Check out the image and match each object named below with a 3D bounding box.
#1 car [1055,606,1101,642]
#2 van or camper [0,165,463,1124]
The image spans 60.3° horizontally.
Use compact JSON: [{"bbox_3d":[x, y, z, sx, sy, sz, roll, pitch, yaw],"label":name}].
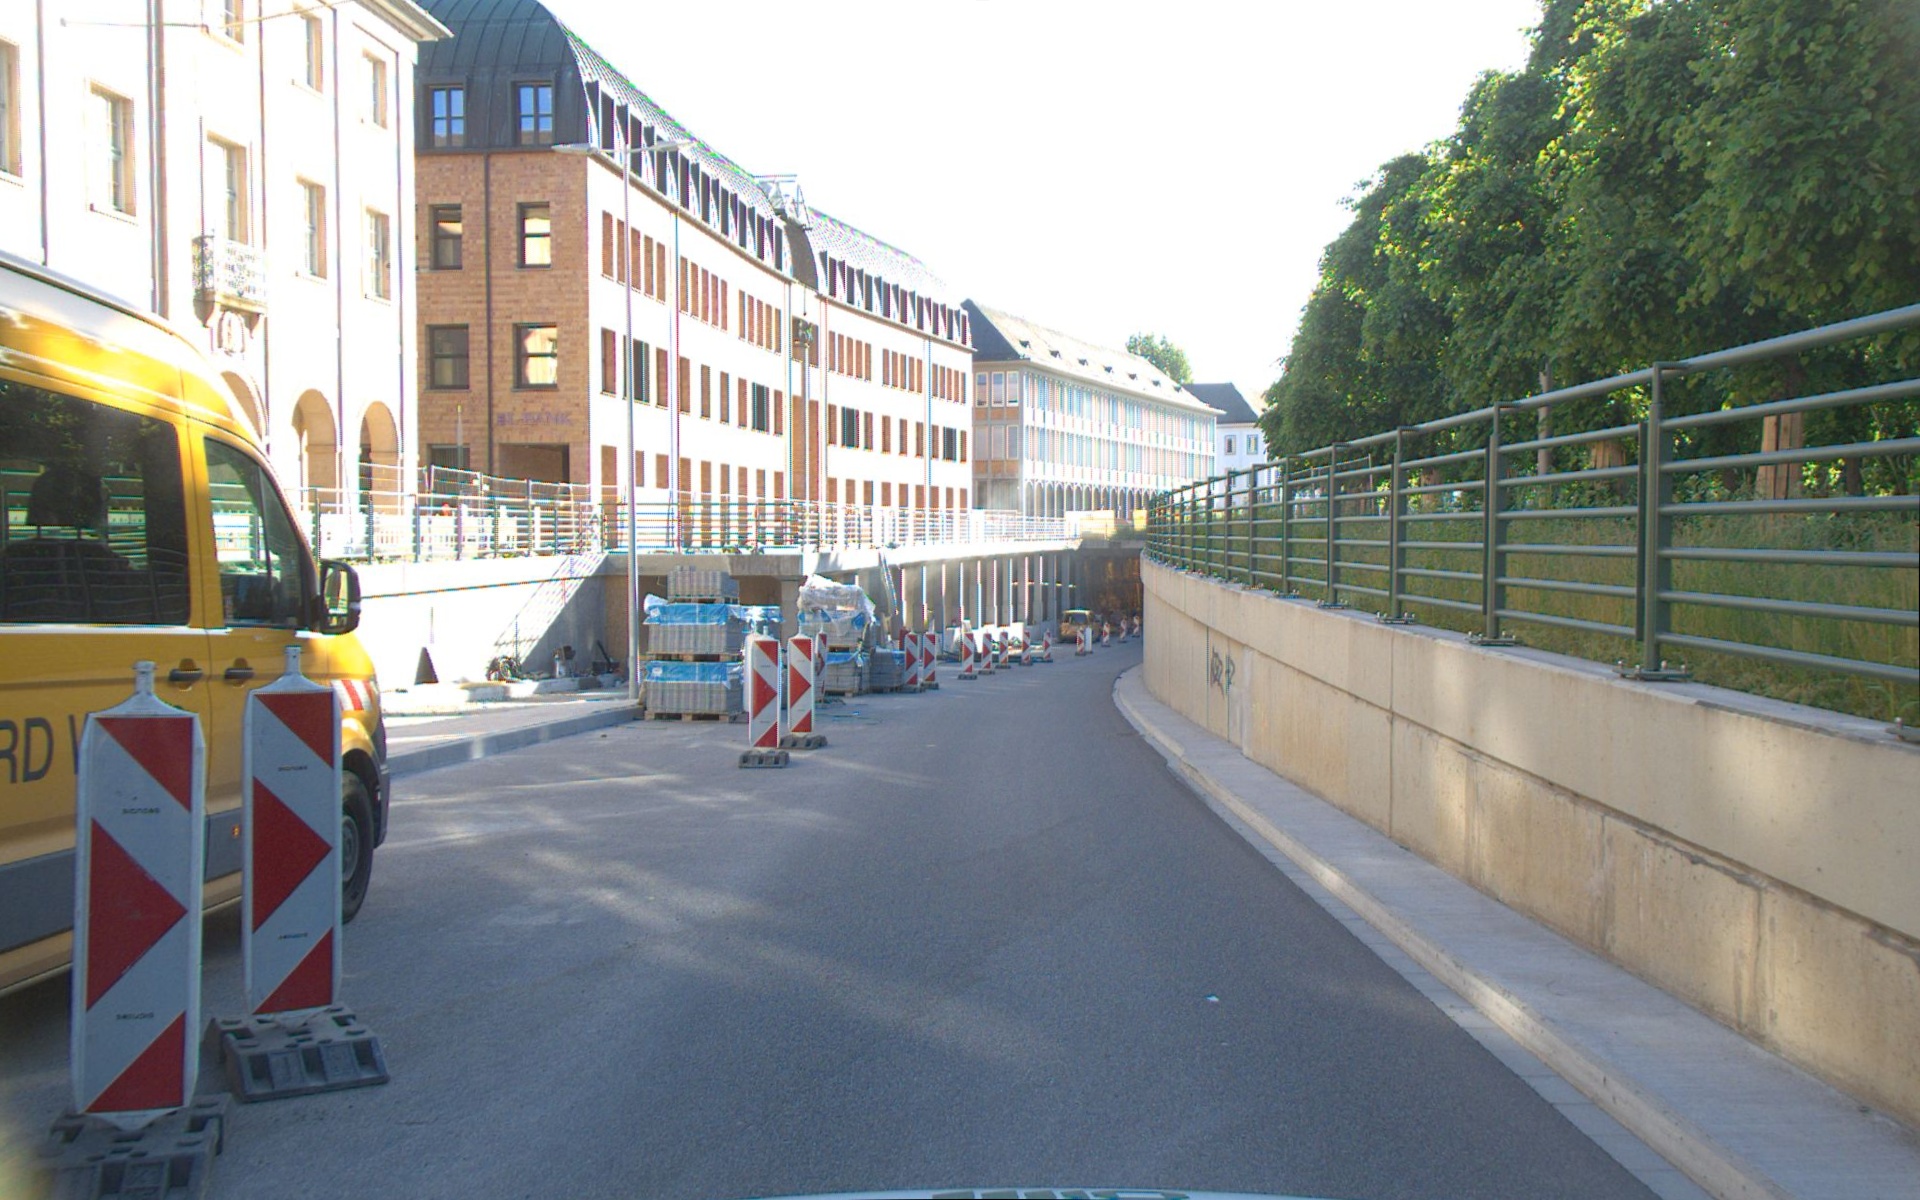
[{"bbox_3d":[6.506,1.291,90.822,1.809,1.806,4.438,1,2,14],"label":"car"},{"bbox_3d":[-3.727,0.106,5.165,2.149,2.658,6.824,2,0,0],"label":"van or camper"}]
